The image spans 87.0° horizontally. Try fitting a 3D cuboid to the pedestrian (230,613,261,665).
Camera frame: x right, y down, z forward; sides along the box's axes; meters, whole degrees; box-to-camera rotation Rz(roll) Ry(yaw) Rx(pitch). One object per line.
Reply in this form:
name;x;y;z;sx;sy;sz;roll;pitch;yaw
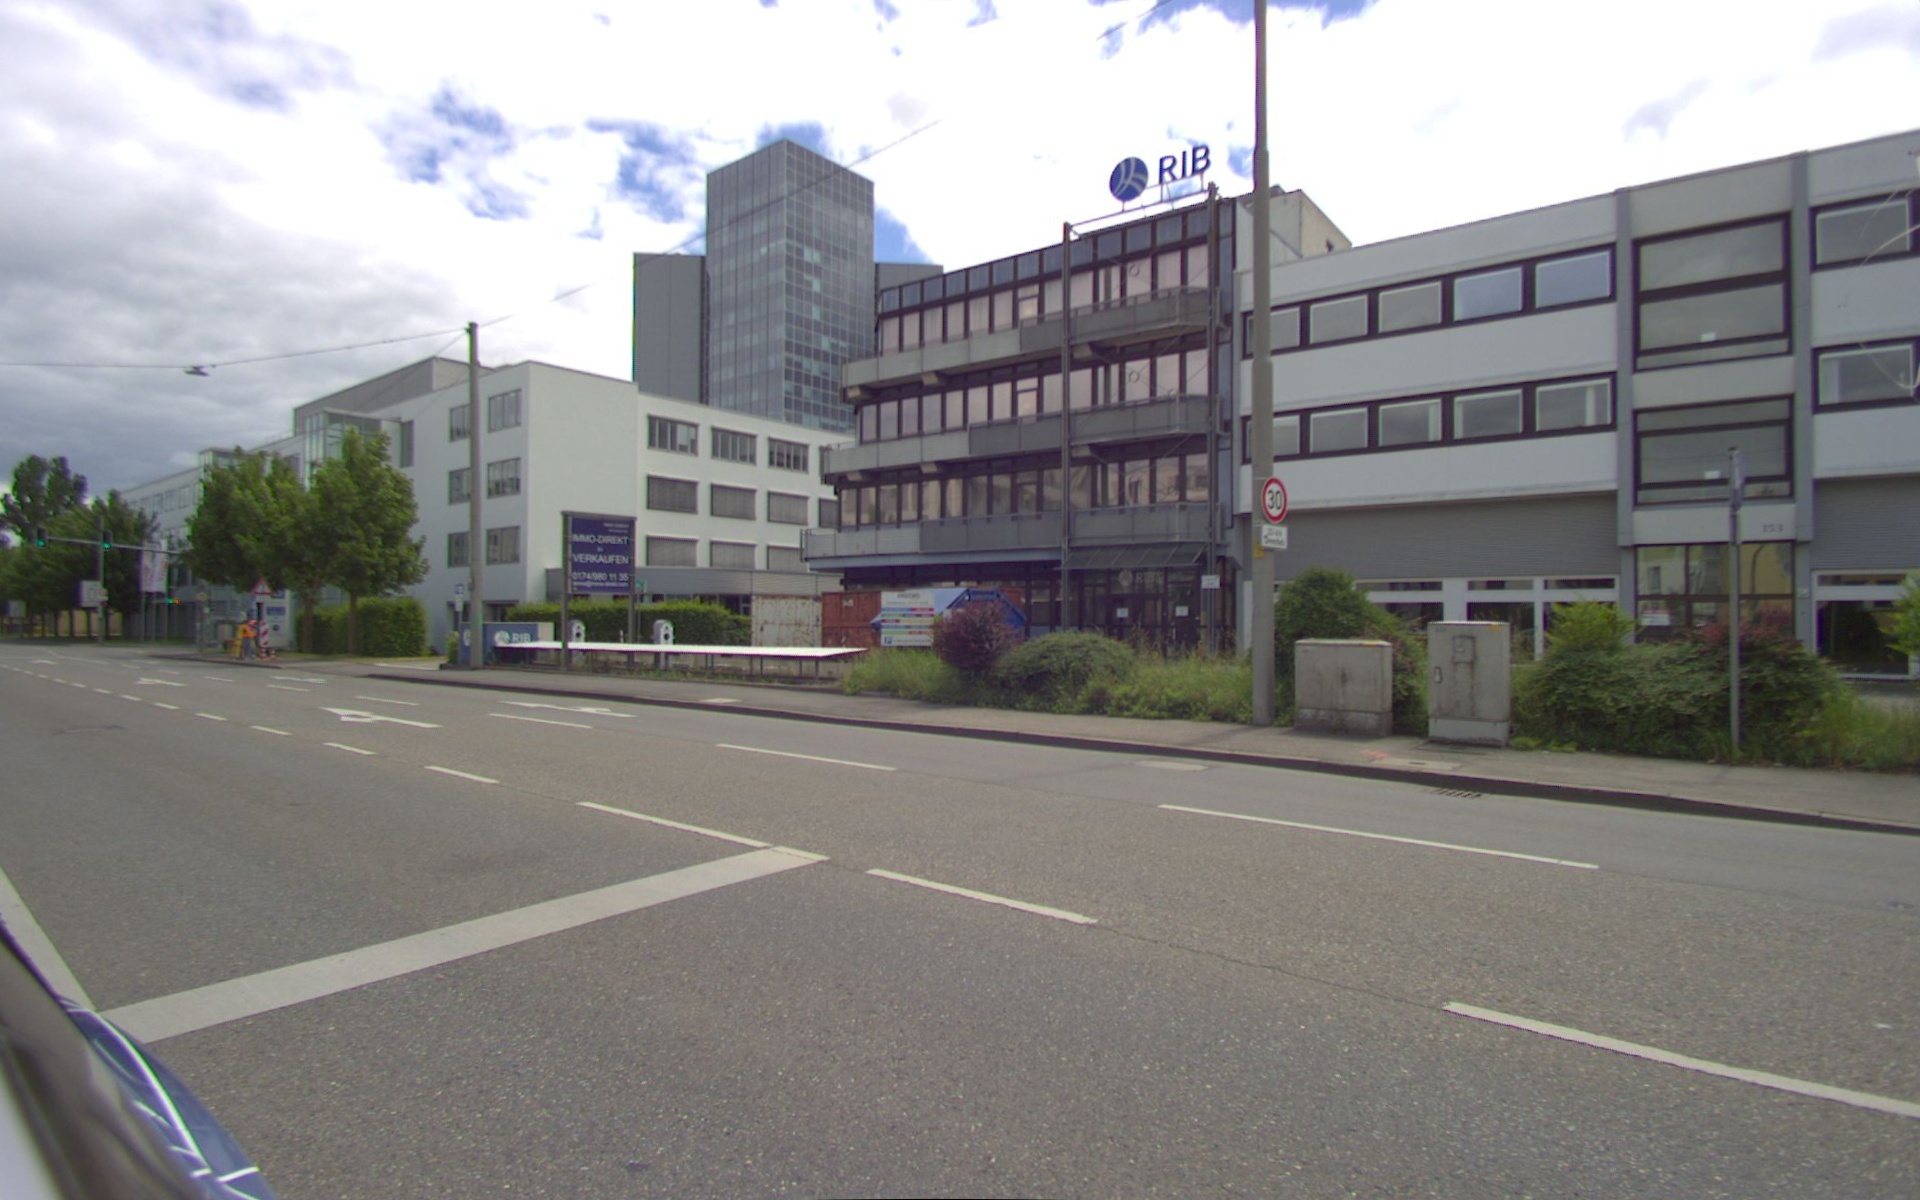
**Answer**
pedestrian;-28.638;1.545;40.579;0.715;2.029;0.812;-1;0;-7
